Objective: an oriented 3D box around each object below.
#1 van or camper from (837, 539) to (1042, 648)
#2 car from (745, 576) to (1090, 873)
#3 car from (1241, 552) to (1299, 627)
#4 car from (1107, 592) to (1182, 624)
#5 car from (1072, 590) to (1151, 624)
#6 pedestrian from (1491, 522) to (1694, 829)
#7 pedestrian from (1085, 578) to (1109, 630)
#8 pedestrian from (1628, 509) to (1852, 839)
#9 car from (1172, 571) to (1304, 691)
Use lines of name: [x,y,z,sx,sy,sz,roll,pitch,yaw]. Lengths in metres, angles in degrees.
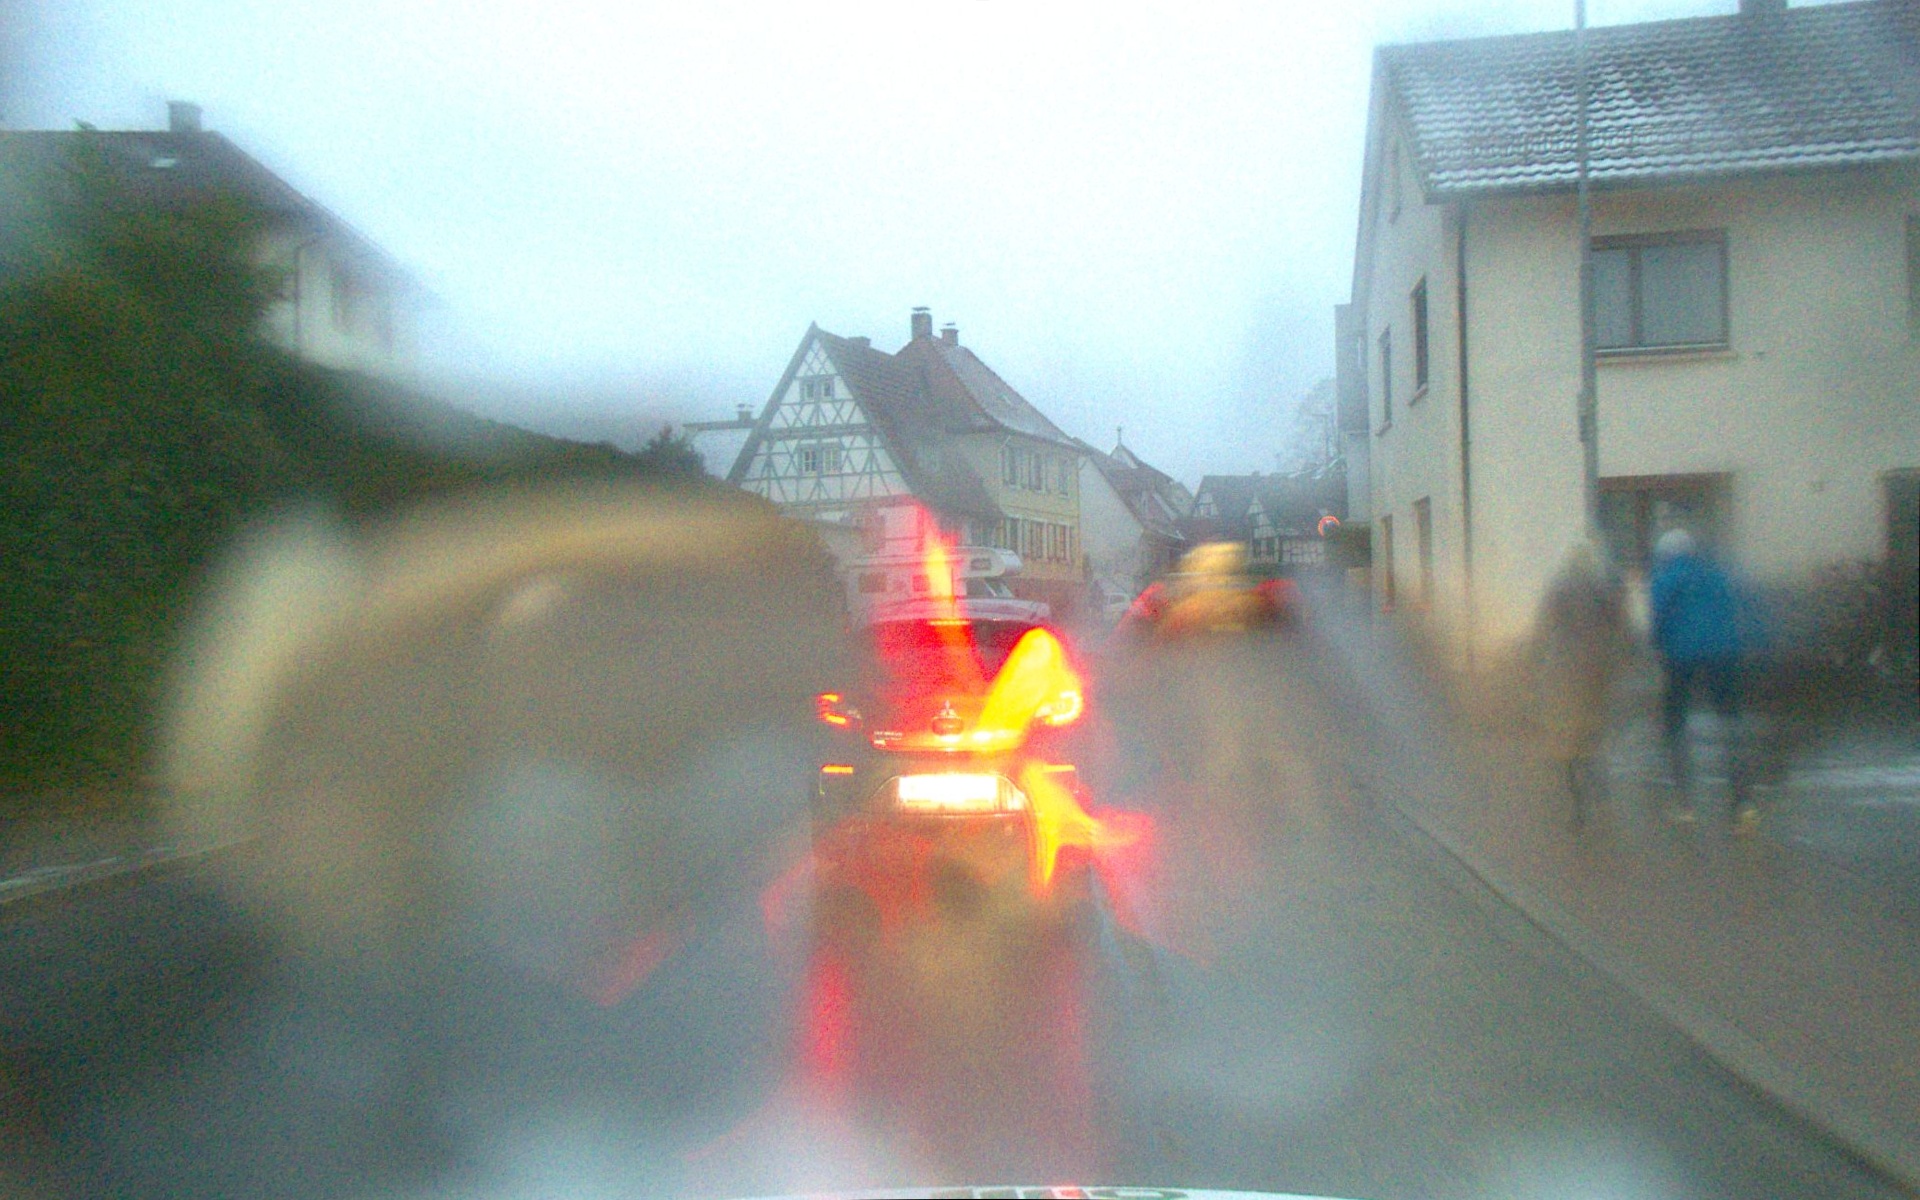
van or camper: [-0.636,-0.185,52.475,5.933,3.006,2.408,-4,-1,17]
car: [-0.144,0.627,10.469,1.758,1.502,4.001,1,0,2]
car: [10.706,-0.359,56.986,1.775,2.455,3.755,-1,0,13]
car: [8.999,0.404,80.543,3.432,1.533,1.694,0,0,13]
car: [7.178,0.329,78.154,3.434,1.533,1.693,0,0,19]
pedestrian: [3.748,0.427,9.889,0.848,1.696,0.993,-4,0,9]
pedestrian: [5.489,0.167,66.088,0.855,2.049,0.795,-1,0,11]
pedestrian: [4.456,0.404,9.531,0.830,1.763,0.972,-4,0,9]
car: [4.169,0.429,25.320,1.808,1.665,4.339,0,0,7]
